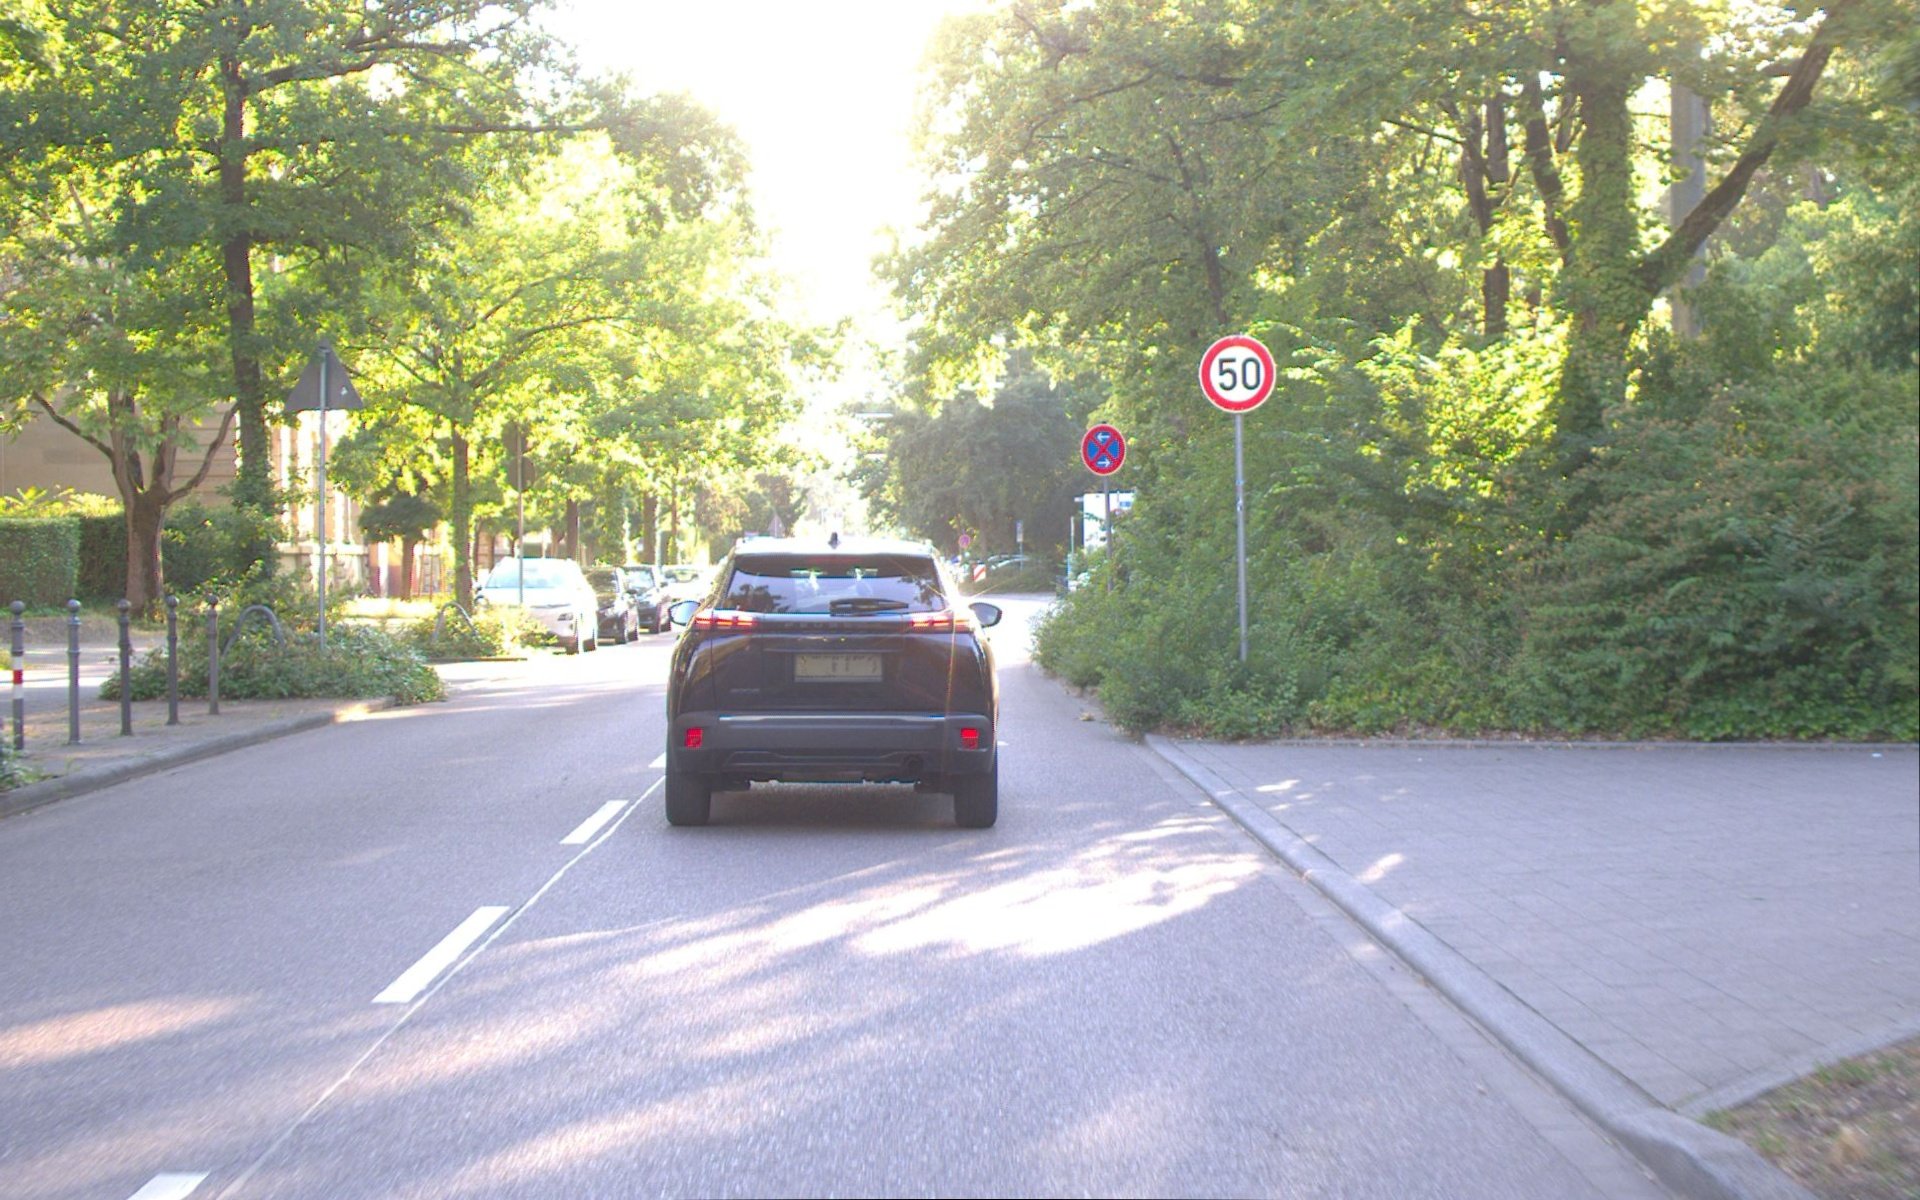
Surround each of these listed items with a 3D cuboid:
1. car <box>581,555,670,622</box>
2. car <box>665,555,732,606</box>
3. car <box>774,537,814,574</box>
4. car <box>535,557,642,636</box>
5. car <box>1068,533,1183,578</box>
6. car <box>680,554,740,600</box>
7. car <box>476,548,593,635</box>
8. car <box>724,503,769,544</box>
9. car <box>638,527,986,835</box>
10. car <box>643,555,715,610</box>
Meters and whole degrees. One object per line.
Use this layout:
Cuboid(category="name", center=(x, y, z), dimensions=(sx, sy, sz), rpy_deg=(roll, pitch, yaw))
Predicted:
Cuboid(category="car", center=(-7.203, -0.266, 74.278), dimensions=(1.810, 1.349, 4.001), rpy_deg=(-1, 1, -5))
Cuboid(category="car", center=(-7.350, -0.573, 96.642), dimensions=(1.810, 1.349, 3.980), rpy_deg=(-1, 1, -5))
Cuboid(category="car", center=(-8.734, -2.358, 181.244), dimensions=(1.907, 1.861, 3.949), rpy_deg=(-1, 1, -1))
Cuboid(category="car", center=(-6.769, -0.094, 62.952), dimensions=(1.810, 1.349, 4.001), rpy_deg=(-1, 1, -5))
Cuboid(category="car", center=(6.074, -1.648, 126.381), dimensions=(3.986, 1.577, 1.816), rpy_deg=(-1, 1, -4))
Cuboid(category="car", center=(-7.791, -0.731, 106.845), dimensions=(1.810, 1.349, 4.001), rpy_deg=(-1, 1, -5))
Cuboid(category="car", center=(-6.982, -0.163, 56.703), dimensions=(1.810, 1.349, 4.001), rpy_deg=(-1, 1, -6))
Cuboid(category="car", center=(-10.033, -3.595, 161.689), dimensions=(1.907, 1.861, 3.949), rpy_deg=(-1, 1, -1))
Cuboid(category="car", center=(-0.795, 0.380, 19.232), dimensions=(1.768, 1.563, 3.381), rpy_deg=(0, 1, -1))
Cuboid(category="car", center=(-7.286, -0.471, 89.240), dimensions=(1.810, 1.349, 4.001), rpy_deg=(-1, 1, -5))
